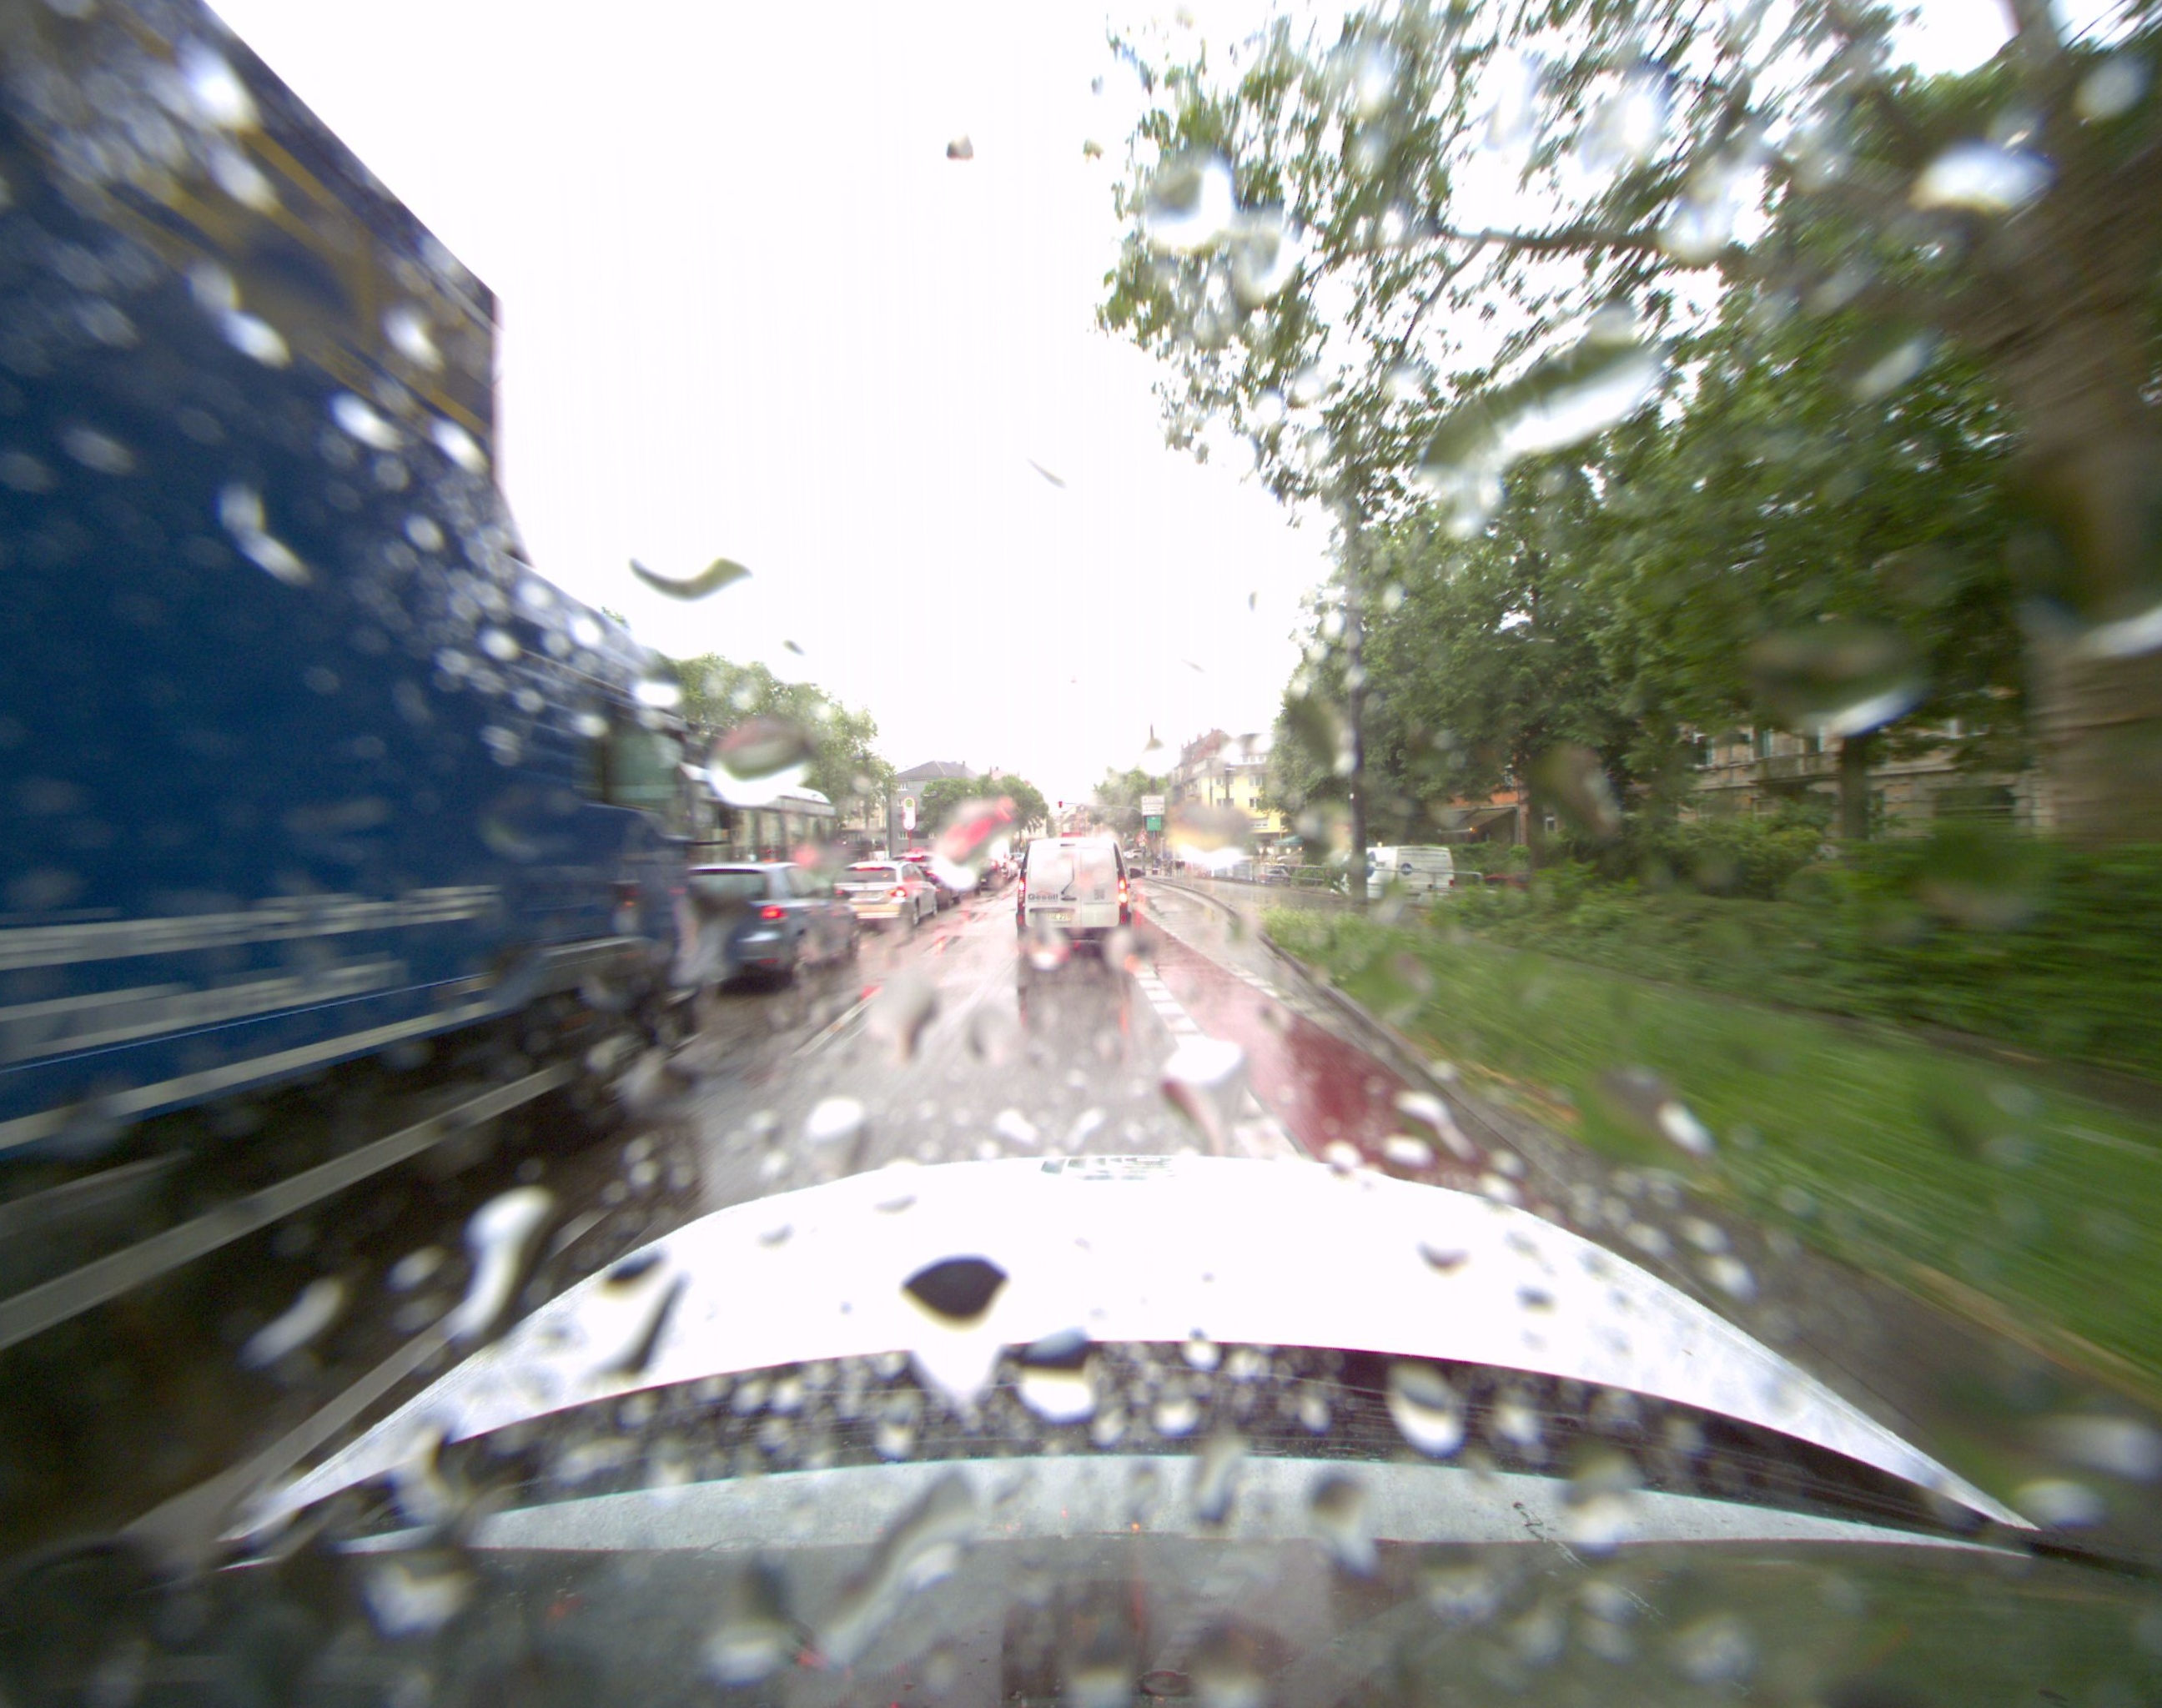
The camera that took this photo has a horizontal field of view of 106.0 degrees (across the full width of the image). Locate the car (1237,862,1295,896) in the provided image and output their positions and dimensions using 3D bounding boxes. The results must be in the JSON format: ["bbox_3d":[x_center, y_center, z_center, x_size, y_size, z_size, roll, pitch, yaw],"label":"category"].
[{"bbox_3d":[9.541,1.238,42.391,1.818,1.490,4.348,-2,1,-3],"label":"car"}]

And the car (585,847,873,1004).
[{"bbox_3d":[-4.227,0.734,10.644,1.988,1.537,4.130,-2,1,-2],"label":"car"}]

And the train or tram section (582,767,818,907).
[{"bbox_3d":[-10.707,-0.468,24.288,2.972,3.285,8.976,-2,1,-2],"label":"train or tram section"}]

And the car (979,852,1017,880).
[{"bbox_3d":[-5.018,0.716,49.830,1.988,1.596,4.609,0,0,-2],"label":"car"}]

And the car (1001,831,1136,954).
[{"bbox_3d":[-0.084,0.589,13.628,1.950,1.777,3.572,-1,-1,3],"label":"car"}]

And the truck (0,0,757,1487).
[{"bbox_3d":[-3.604,-0.408,3.933,2.575,3.904,3.996,0,0,-3],"label":"truck"}]

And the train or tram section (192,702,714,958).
[{"bbox_3d":[-10.360,-0.382,15.333,2.972,3.285,8.976,-2,1,-2],"label":"train or tram section"}]

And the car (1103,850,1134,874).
[{"bbox_3d":[2.548,0.521,55.669,1.985,1.542,4.003,-1,0,2],"label":"car"}]

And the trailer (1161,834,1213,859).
[{"bbox_3d":[10.195,-0.723,78.243,4.682,2.317,1.981,0,-1,-30],"label":"trailer"}]

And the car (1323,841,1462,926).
[{"bbox_3d":[10.483,0.885,28.049,2.175,2.532,5.769,-2,1,-4],"label":"car"}]

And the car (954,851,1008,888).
[{"bbox_3d":[-4.459,0.684,36.946,1.988,1.578,4.289,0,0,-2],"label":"car"}]

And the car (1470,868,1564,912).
[{"bbox_3d":[16.939,1.343,31.617,3.687,1.437,1.691,-3,1,-34],"label":"car"}]

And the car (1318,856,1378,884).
[{"bbox_3d":[16.314,0.978,49.660,1.867,1.478,4.024,-2,1,44],"label":"car"}]

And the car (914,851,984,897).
[{"bbox_3d":[-4.812,0.696,30.201,1.988,1.578,4.289,0,0,-2],"label":"car"}]

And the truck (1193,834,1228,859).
[{"bbox_3d":[12.646,-0.721,79.606,2.656,2.299,1.981,0,-1,-30],"label":"truck"}]

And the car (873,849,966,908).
[{"bbox_3d":[-4.661,0.672,24.186,1.988,1.578,4.289,0,0,-2],"label":"car"}]

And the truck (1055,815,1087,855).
[{"bbox_3d":[-1.405,-2.456,106.892,3.272,4.899,11.384,-2,1,-4],"label":"truck"}]

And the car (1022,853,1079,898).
[{"bbox_3d":[-1.012,0.718,28.438,1.754,1.469,3.534,0,-1,1],"label":"car"}]

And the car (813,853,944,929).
[{"bbox_3d":[-4.410,0.735,18.408,1.988,1.472,4.264,0,1,-2],"label":"car"}]

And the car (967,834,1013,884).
[{"bbox_3d":[-4.657,0.273,42.463,1.988,2.442,4.609,0,0,-2],"label":"car"}]

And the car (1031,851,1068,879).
[{"bbox_3d":[-1.678,0.597,43.982,1.754,1.469,3.534,0,-1,1],"label":"car"}]
